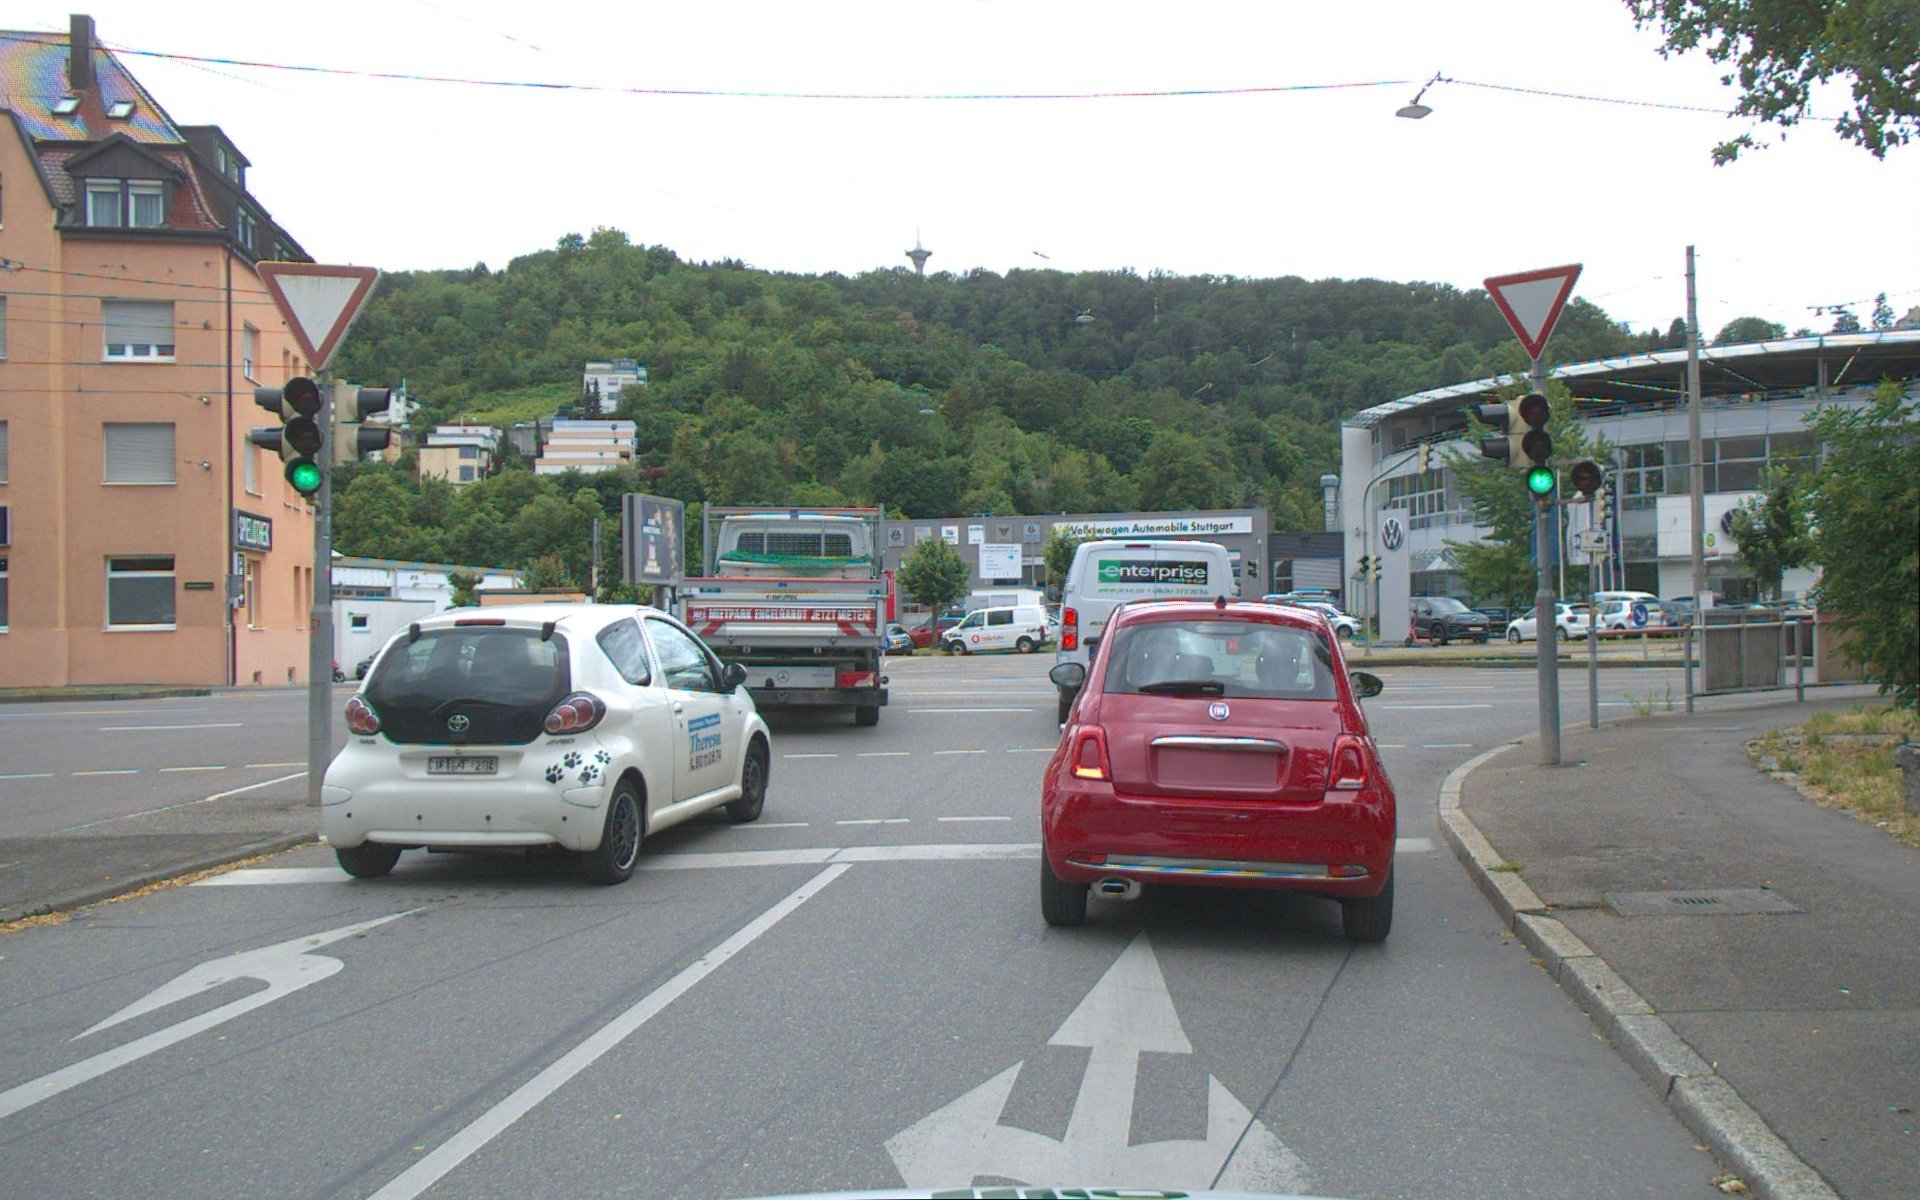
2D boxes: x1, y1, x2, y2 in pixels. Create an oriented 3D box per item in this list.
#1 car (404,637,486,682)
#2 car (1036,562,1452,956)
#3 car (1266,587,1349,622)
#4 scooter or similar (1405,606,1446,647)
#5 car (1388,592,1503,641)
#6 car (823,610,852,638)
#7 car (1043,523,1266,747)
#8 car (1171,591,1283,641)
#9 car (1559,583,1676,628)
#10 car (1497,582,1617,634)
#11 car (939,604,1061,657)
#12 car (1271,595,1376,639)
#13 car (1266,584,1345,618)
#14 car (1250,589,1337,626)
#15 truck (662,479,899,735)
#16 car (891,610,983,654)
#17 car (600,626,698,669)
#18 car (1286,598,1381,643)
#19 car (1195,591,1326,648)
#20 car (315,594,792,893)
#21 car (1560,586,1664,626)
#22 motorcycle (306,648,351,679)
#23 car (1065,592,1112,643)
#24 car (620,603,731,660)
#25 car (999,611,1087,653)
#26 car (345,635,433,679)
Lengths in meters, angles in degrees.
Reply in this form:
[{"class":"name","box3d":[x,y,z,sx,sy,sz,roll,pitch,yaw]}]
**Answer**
[{"class":"car","box3d":[-23.195,2.680,74.679,1.952,1.871,4.512,2,-2,4]},{"class":"car","box3d":[1.539,0.675,8.904,1.661,1.552,4.003,2,0,11]},{"class":"car","box3d":[19.581,0.247,93.398,4.400,1.759,2.001,2,-2,7]},{"class":"scooter or similar","box3d":[15.440,0.887,54.899,1.175,1.311,0.575,2,-2,3]},{"class":"car","box3d":[16.961,0.584,57.957,1.963,1.669,3.978,0,-1,-19]},{"class":"car","box3d":[-9.537,1.886,129.096,1.953,2.032,4.509,2,-2,-1]},{"class":"car","box3d":[1.984,0.294,18.269,1.957,2.076,4.833,2,1,1]},{"class":"car","box3d":[10.242,0.633,63.607,3.906,1.736,1.999,2,-2,-1]},{"class":"car","box3d":[23.599,0.224,59.499,1.781,1.503,3.978,3,-2,-19]},{"class":"car","box3d":[21.229,0.308,58.980,1.963,1.669,3.978,3,-2,-19]},{"class":"car","box3d":[1.735,1.339,70.895,4.895,2.049,2.001,-2,-3,13]},{"class":"car","box3d":[16.279,0.790,74.266,4.400,1.759,2.001,2,-2,7]},{"class":"car","box3d":[20.569,0.065,98.495,4.400,1.759,2.001,2,-2,7]},{"class":"car","box3d":[17.978,0.430,89.229,4.400,1.759,2.001,2,-2,7]},{"class":"truck","box3d":[-1.884,-0.006,18.982,2.267,2.463,5.652,-1,1,-3]},{"class":"car","box3d":[-1.160,1.633,84.537,4.400,2.032,2.001,2,-2,8]},{"class":"car","box3d":[-11.879,1.790,63.195,3.505,1.512,1.594,-1,-1,-19]},{"class":"car","box3d":[18.475,1.018,81.993,4.400,2.032,2.001,2,-2,8]},{"class":"car","box3d":[9.896,0.613,54.472,3.906,1.668,2.000,2,3,22]},{"class":"car","box3d":[-2.231,0.725,9.980,1.559,1.445,3.377,-3,0,9]},{"class":"car","box3d":[28.382,0.280,72.105,1.898,1.581,3.964,3,-2,-27]},{"class":"motorcycle","box3d":[-21.879,2.204,57.315,1.674,1.001,0.527,1,-2,34]},{"class":"car","box3d":[5.724,0.823,73.592,1.951,2.049,5.020,-2,-3,4]},{"class":"car","box3d":[-12.441,1.383,72.359,4.431,2.282,1.987,3,-2,-21]},{"class":"car","box3d":[3.981,1.522,78.679,3.902,1.825,1.855,2,-2,11]},{"class":"car","box3d":[-25.706,2.569,74.606,1.951,1.871,4.512,2,-2,5]}]
